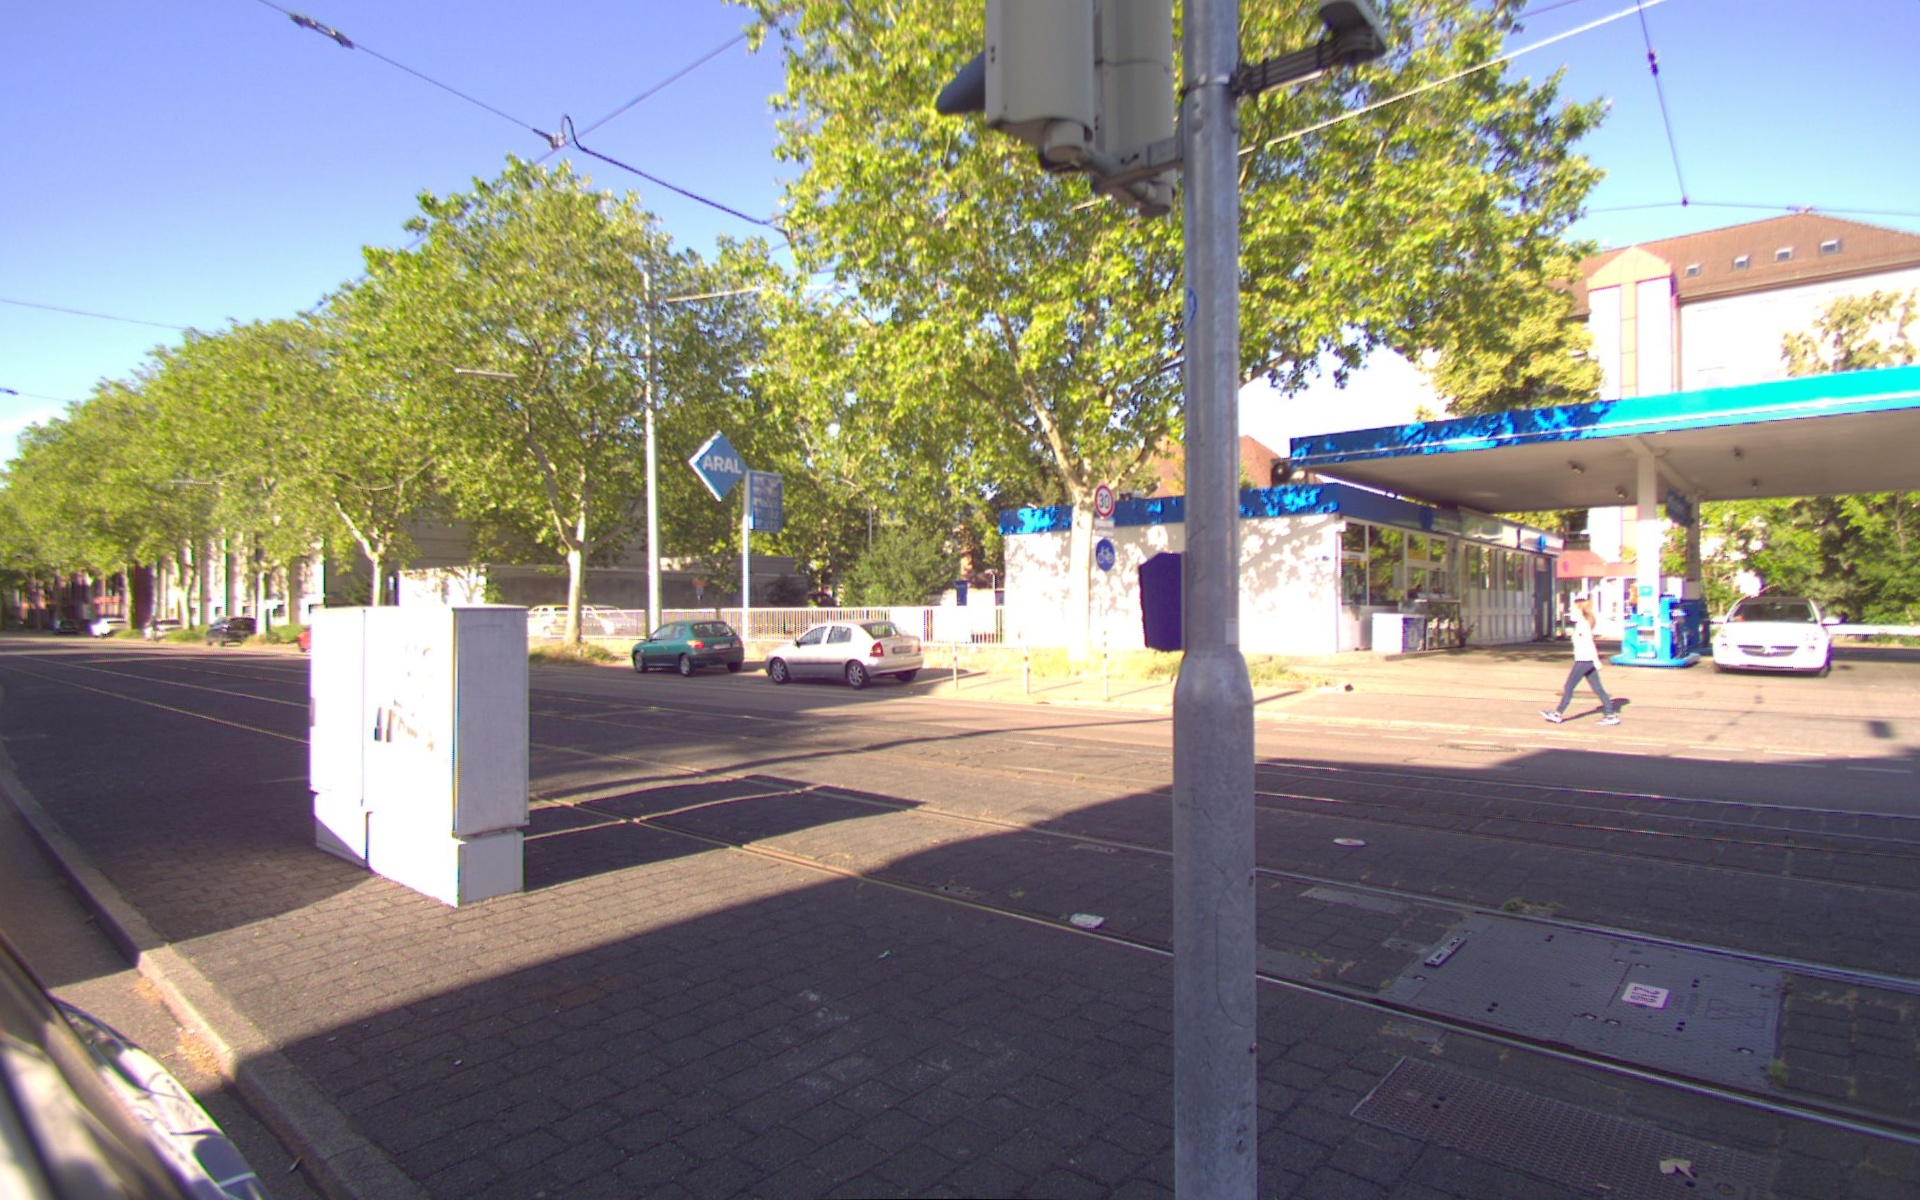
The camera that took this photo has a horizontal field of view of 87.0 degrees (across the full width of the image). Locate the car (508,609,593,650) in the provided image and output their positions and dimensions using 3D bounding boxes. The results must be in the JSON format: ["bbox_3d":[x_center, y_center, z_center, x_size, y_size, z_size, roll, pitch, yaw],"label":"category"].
[{"bbox_3d":[-17.136,1.197,42.279,4.002,1.545,1.820,-1,1,45],"label":"car"}]

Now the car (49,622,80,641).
[{"bbox_3d":[-85.042,2.950,96.100,4.098,1.686,1.821,-1,1,44],"label":"car"}]

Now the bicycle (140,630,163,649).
[{"bbox_3d":[-48.676,2.373,60.903,2.532,1.129,0.645,-1,-1,41],"label":"bicycle"}]

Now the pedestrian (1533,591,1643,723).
[{"bbox_3d":[8.162,0.716,13.160,1.106,1.631,0.706,-1,-2,41],"label":"pedestrian"}]

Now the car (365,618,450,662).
[{"bbox_3d":[-21.967,1.543,40.185,4.002,1.545,1.820,-1,1,45],"label":"car"}]

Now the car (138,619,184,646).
[{"bbox_3d":[-53.842,2.163,68.205,4.098,1.686,1.821,-1,1,44],"label":"car"}]

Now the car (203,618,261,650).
[{"bbox_3d":[-40.659,1.888,56.480,4.098,1.628,1.821,-1,1,44],"label":"car"}]

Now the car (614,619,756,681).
[{"bbox_3d":[-7.432,1.277,27.133,4.138,1.418,1.820,-1,1,45],"label":"car"}]

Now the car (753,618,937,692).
[{"bbox_3d":[-2.625,1.179,22.644,3.997,1.418,1.823,-1,1,40],"label":"car"}]

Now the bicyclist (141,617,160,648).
[{"bbox_3d":[-48.720,1.952,60.901,1.070,1.878,0.711,-1,-2,41],"label":"bicyclist"}]

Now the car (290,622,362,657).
[{"bbox_3d":[-28.967,1.776,46.178,4.001,1.418,1.821,-1,1,44],"label":"car"}]

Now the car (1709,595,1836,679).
[{"bbox_3d":[16.005,0.676,19.901,1.780,1.475,3.946,-1,-1,40],"label":"car"}]

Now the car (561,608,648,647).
[{"bbox_3d":[-15.395,1.174,43.771,3.999,1.545,1.822,-1,1,42],"label":"car"}]

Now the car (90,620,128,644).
[{"bbox_3d":[-66.945,2.492,79.577,4.098,1.686,1.821,-1,1,44],"label":"car"}]
